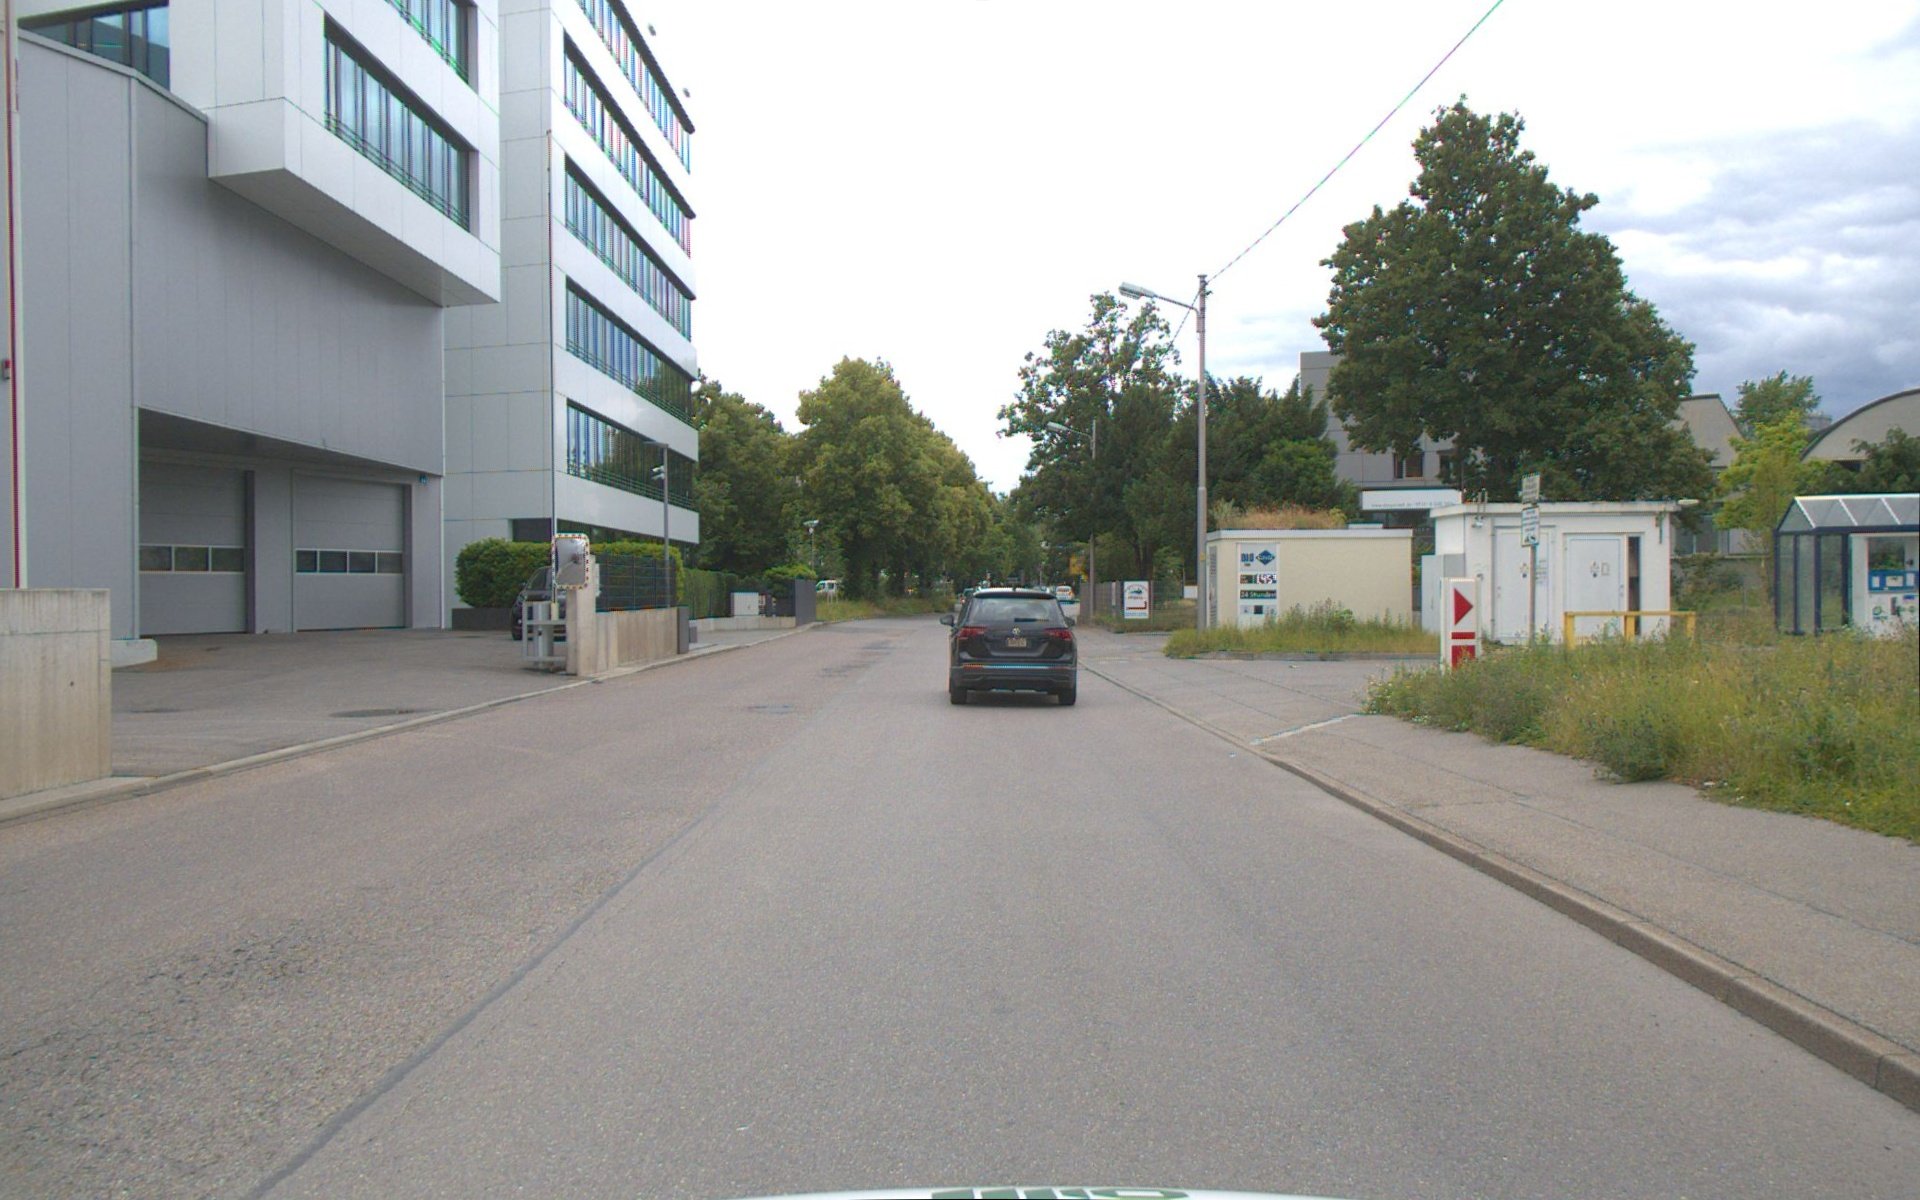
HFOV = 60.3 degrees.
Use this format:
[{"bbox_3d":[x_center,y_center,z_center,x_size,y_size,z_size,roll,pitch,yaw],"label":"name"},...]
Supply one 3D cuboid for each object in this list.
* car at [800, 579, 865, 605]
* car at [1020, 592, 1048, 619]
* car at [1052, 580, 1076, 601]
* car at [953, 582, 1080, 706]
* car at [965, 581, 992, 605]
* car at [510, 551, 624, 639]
[{"bbox_3d":[-12.395,-0.805,161.024,5.944,2.429,2.395,-1,1,2],"label":"car"},{"bbox_3d":[4.663,0.331,104.925,1.624,1.602,3.829,-1,0,1],"label":"car"},{"bbox_3d":[9.312,-0.866,147.854,1.951,1.817,4.003,0,0,7],"label":"car"},{"bbox_3d":[0.833,0.608,24.212,1.703,1.646,3.642,1,0,2],"label":"car"},{"bbox_3d":[1.453,-0.544,127.683,1.770,1.795,4.208,1,0,4],"label":"car"},{"bbox_3d":[-8.448,-0.113,35.780,1.616,1.792,3.179,1,0,1],"label":"car"}]
